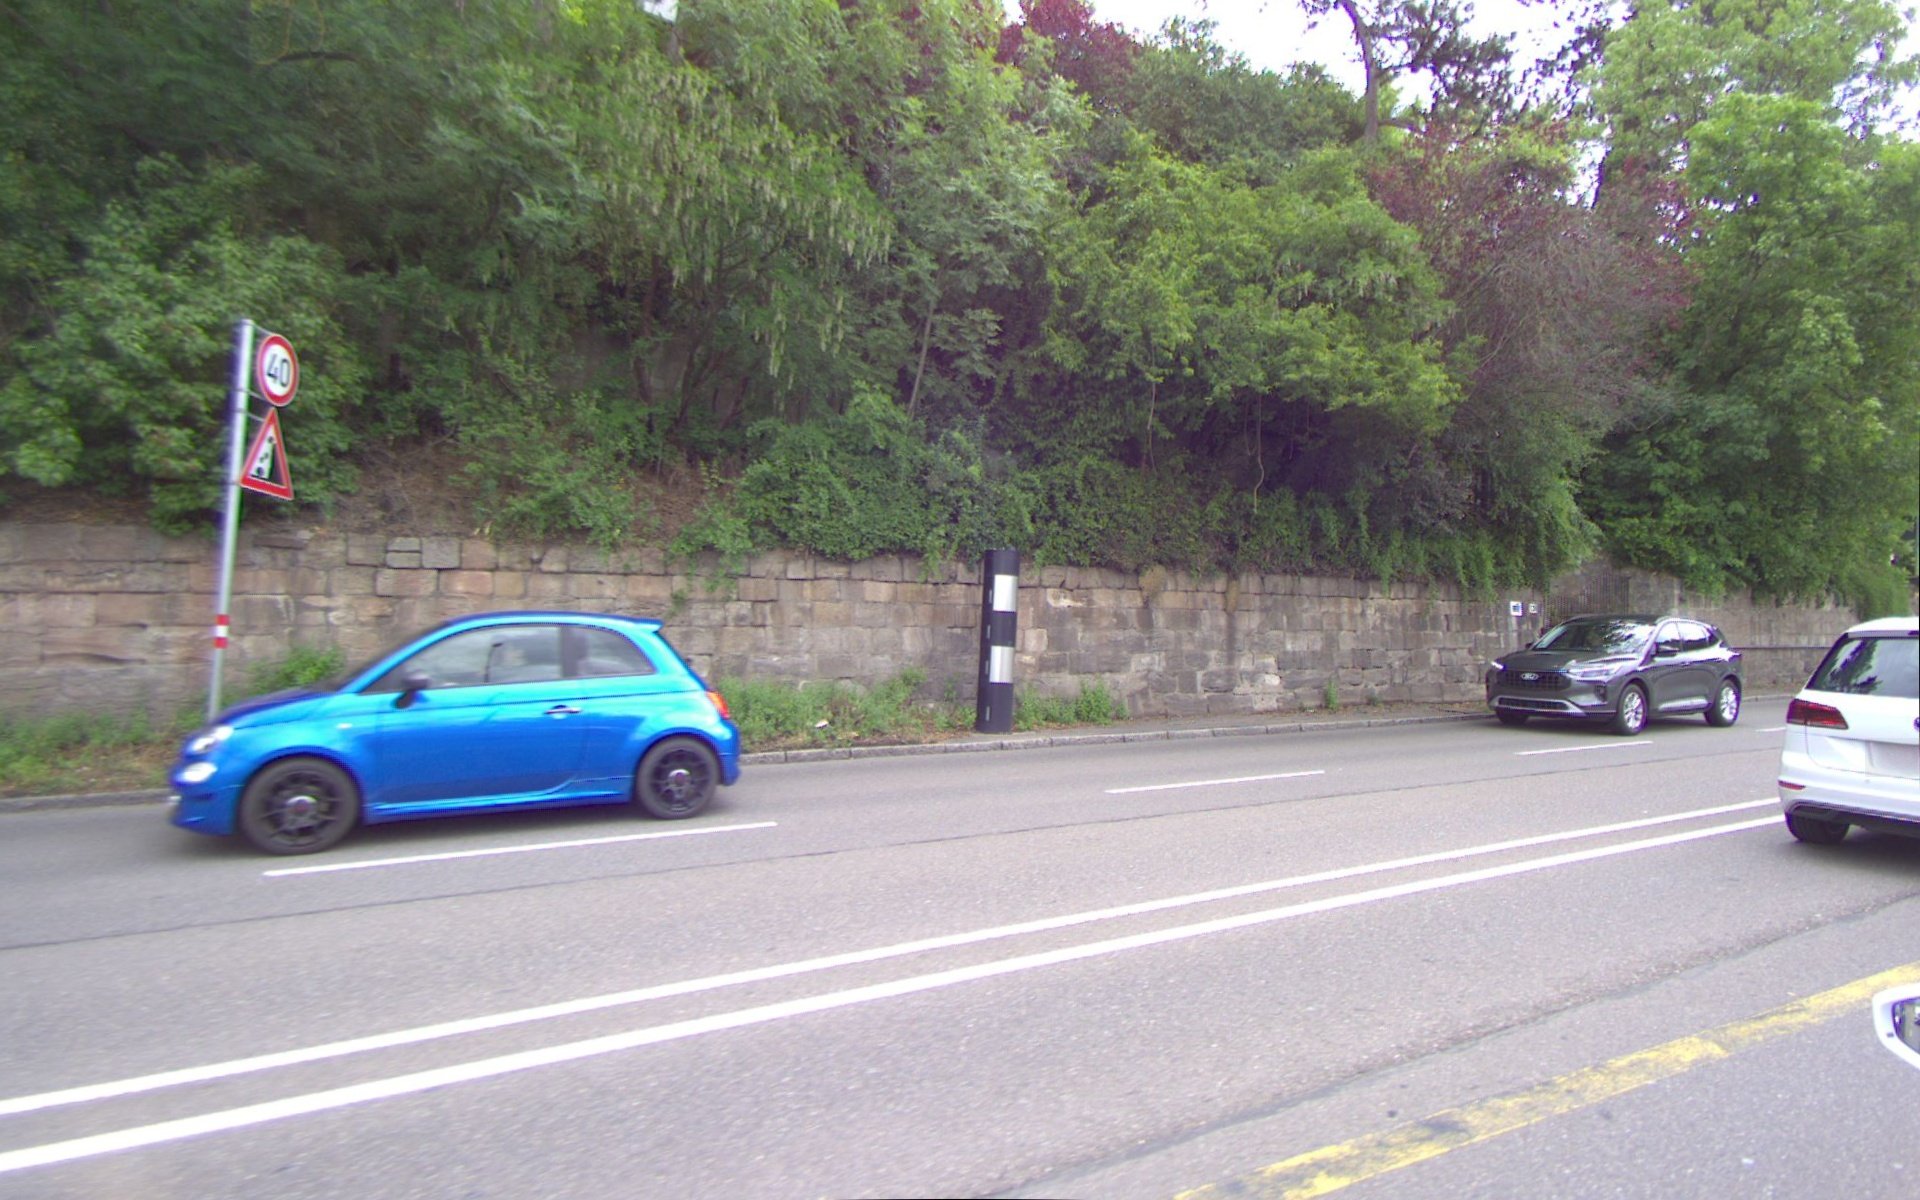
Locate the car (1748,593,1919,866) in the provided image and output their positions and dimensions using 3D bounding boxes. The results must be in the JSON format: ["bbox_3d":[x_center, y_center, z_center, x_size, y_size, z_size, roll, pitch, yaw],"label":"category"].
[{"bbox_3d":[7.380,0.786,6.882,4.226,1.575,1.711,1,0,-31],"label":"car"}]

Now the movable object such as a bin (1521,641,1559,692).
[{"bbox_3d":[11.595,1.323,20.087,0.469,0.978,0.514,1,-1,-33],"label":"movable object such as a bin"}]

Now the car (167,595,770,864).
[{"bbox_3d":[-3.297,0.770,7.195,3.480,1.481,1.576,2,1,-29],"label":"car"}]

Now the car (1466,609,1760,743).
[{"bbox_3d":[9.749,1.045,14.938,4.415,1.720,1.808,2,0,-29],"label":"car"}]
